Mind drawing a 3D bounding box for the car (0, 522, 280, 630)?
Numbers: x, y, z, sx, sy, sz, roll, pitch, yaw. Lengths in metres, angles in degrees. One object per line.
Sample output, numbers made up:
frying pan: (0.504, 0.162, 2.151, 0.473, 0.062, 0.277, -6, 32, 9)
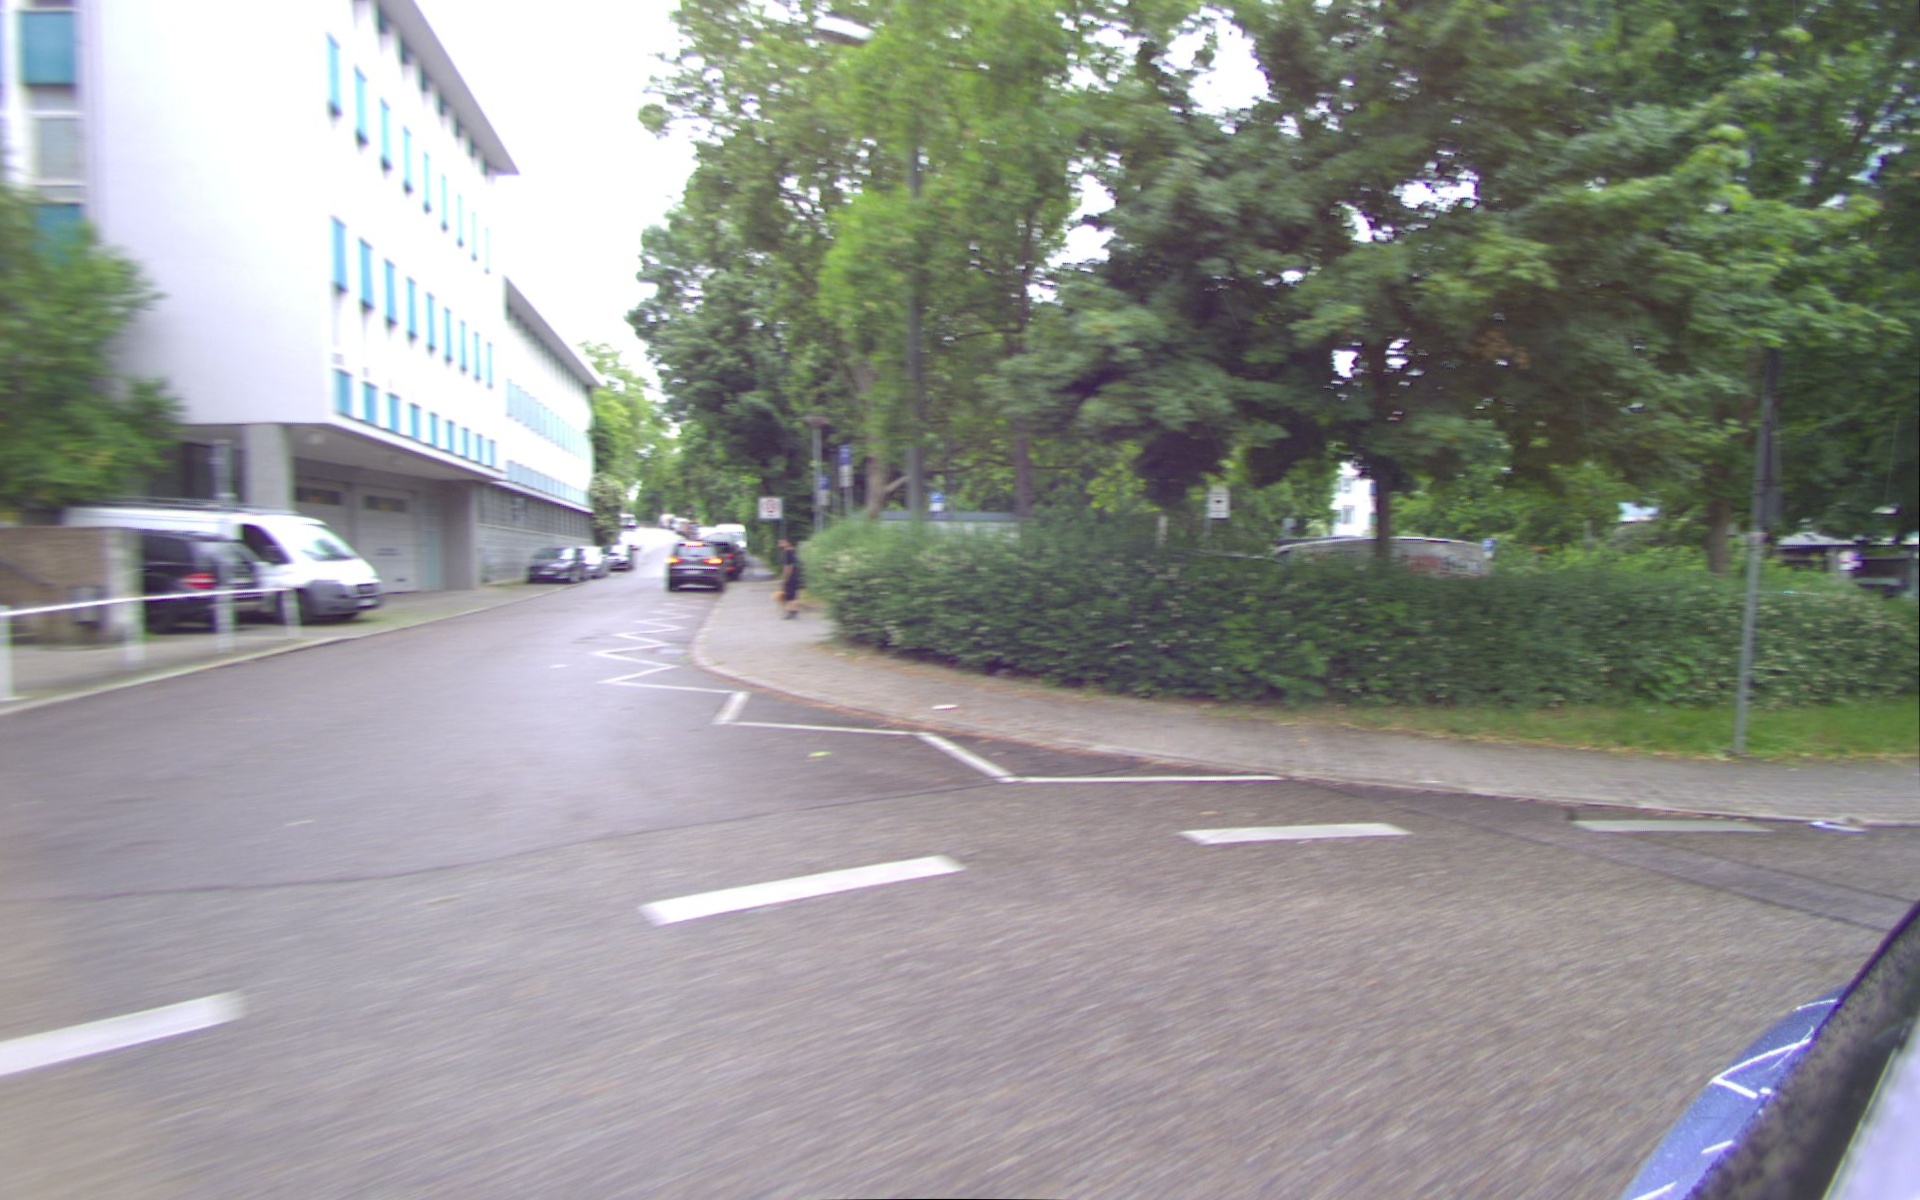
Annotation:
car: (-14.547, -0.455, 17.777, 3.923, 1.713, 1.885, 1, 3, -1)

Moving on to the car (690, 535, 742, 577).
car: (-10.396, -1.897, 43.329, 1.870, 1.671, 4.009, 0, 3, -9)

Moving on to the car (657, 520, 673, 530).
car: (-46.424, -11.791, 159.413, 1.763, 1.528, 4.008, -1, 3, -26)

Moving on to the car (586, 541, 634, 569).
car: (-19.398, -2.527, 56.283, 1.870, 1.520, 4.009, 0, 3, -9)

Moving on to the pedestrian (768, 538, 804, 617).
pedestrian: (-3.557, -0.465, 20.709, 0.690, 1.586, 0.623, 0, 3, -7)

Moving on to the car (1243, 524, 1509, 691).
car: (5.758, 0.041, 14.658, 1.604, 1.984, 4.218, 3, 1, -7)

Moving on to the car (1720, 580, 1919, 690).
car: (15.233, 0.568, 16.609, 1.602, 1.641, 4.222, 3, 1, -17)

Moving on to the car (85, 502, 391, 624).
car: (-14.391, -0.763, 20.392, 4.798, 2.238, 1.885, 1, 3, -1)

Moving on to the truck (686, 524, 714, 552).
truck: (-25.605, -6.049, 99.663, 2.009, 2.660, 4.009, -1, 3, -25)

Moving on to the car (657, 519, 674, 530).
car: (-43.902, -11.277, 150.770, 1.763, 1.528, 4.008, -1, 3, -26)

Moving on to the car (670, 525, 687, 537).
car: (-36.195, -8.832, 130.052, 1.762, 1.528, 4.010, -1, 3, -19)

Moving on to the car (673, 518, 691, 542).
car: (-33.853, -8.479, 123.184, 1.869, 2.823, 4.010, 0, 3, -18)

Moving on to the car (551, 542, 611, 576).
car: (-17.448, -1.909, 46.765, 1.870, 1.520, 4.009, 0, 3, -9)

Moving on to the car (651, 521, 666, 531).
car: (-49.686, -12.151, 166.603, 1.763, 1.528, 4.008, -1, 3, -26)

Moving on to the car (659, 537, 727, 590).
car: (-9.023, -1.276, 34.521, 1.870, 1.671, 4.009, 0, 3, -9)

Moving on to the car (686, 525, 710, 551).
car: (-27.214, -6.388, 105.029, 1.755, 2.660, 4.009, -1, 3, -24)

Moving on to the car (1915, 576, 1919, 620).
car: (38.405, 0.025, 37.467, 1.616, 1.685, 4.198, -2, 4, -13)

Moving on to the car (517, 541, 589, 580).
car: (-16.434, -1.619, 41.050, 1.870, 1.520, 4.009, 0, 3, -9)

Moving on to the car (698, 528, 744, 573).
car: (-11.504, -2.401, 48.926, 1.870, 2.100, 4.009, 0, 3, -9)

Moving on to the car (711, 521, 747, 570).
car: (-16.123, -3.817, 70.893, 2.177, 3.322, 5.091, 0, 3, -9)
